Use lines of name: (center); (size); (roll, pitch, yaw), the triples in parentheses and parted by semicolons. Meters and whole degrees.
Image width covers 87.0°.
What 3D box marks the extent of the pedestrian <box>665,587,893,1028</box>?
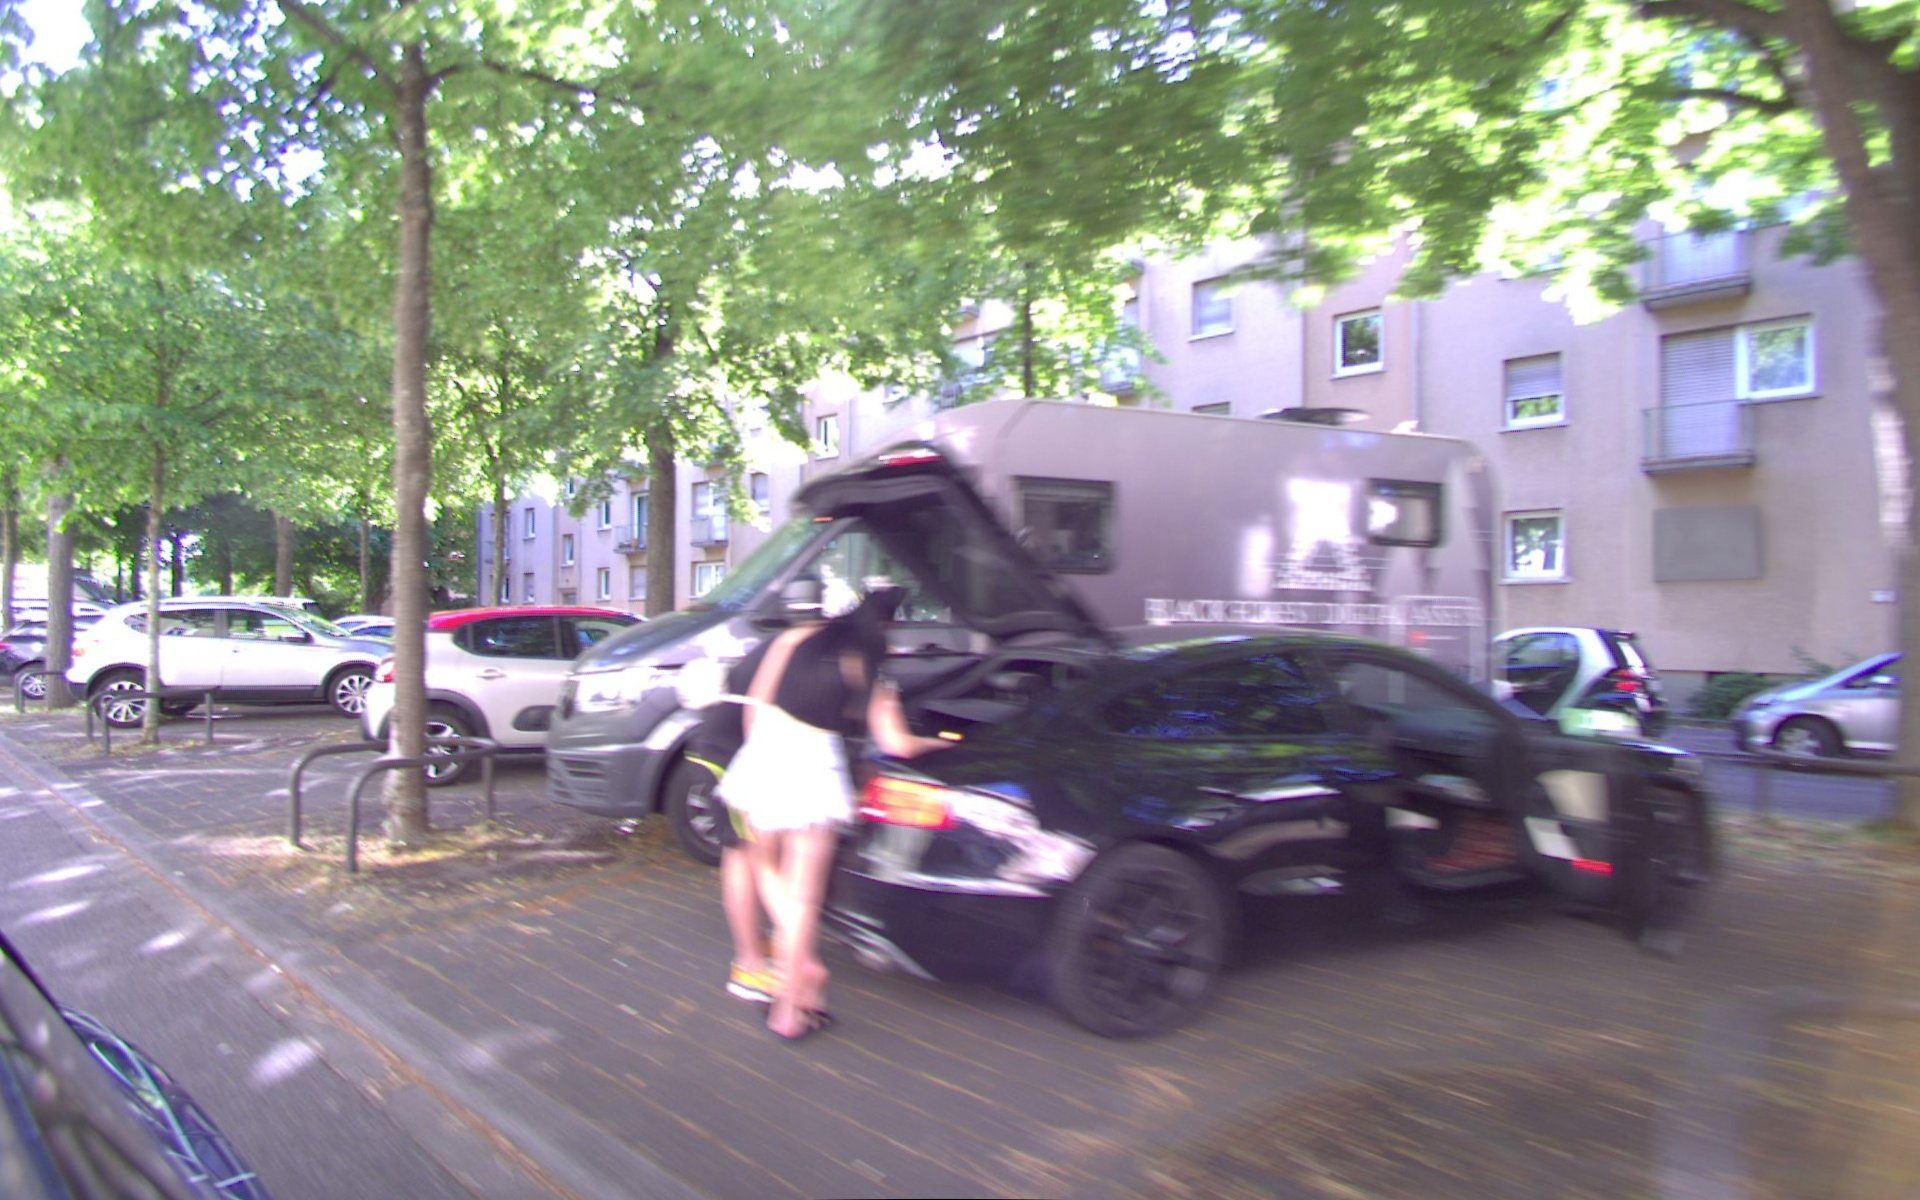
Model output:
pedestrian: (-0.693, 0.701, 3.809); (0.699, 1.467, 0.598); (1, -2, -26)

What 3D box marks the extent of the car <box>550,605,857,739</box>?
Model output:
car: (-3.175, 0.857, 12.759); (3.484, 1.519, 1.762); (1, -2, -15)

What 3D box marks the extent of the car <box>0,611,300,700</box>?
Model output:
car: (-14.632, 0.947, 18.172); (4.348, 1.473, 1.721); (0, 0, -16)

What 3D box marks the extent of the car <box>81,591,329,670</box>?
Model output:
car: (-18.644, 0.767, 25.268); (4.526, 1.846, 2.025); (1, -1, -20)

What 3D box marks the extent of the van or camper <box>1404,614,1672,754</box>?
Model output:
van or camper: (7.288, 0.986, 12.832); (2.696, 1.567, 1.580); (-1, -2, 41)

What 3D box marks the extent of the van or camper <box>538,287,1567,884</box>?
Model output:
van or camper: (0.814, -0.003, 7.394); (7.123, 2.952, 2.321); (1, -2, -22)

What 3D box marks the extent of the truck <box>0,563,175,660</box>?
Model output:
truck: (-32.795, 0.428, 36.015); (7.200, 3.319, 2.554); (1, -2, -17)

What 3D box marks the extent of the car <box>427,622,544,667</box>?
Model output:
car: (-15.832, 1.455, 33.651); (4.613, 1.403, 1.710); (-1, -3, 40)

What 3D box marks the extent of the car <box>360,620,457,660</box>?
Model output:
car: (-20.407, 1.436, 37.382); (4.532, 1.417, 1.602); (-1, -2, 40)

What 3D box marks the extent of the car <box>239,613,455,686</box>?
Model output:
car: (-13.080, 1.030, 21.806); (3.573, 1.466, 1.822); (0, -1, -12)

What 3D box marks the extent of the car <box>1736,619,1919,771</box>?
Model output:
car: (10.404, 0.951, 10.385); (3.768, 1.511, 1.646); (-1, -2, 41)

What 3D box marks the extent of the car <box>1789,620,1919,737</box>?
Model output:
car: (13.206, 1.017, 13.221); (3.610, 1.493, 1.607); (-1, -2, 41)

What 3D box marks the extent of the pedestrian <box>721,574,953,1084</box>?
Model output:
pedestrian: (-0.409, 0.668, 3.294); (0.606, 1.467, 0.521); (1, -2, -26)

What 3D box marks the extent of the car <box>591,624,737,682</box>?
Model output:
car: (-7.922, 1.358, 26.948); (3.998, 1.397, 1.872); (-1, -2, 41)

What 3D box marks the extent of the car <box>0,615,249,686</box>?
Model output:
car: (-18.582, 1.077, 22.299); (4.413, 1.466, 1.793); (0, -1, -17)

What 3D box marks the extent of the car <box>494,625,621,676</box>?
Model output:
car: (-11.971, 1.446, 30.010); (3.998, 1.398, 1.872); (-1, -3, 41)

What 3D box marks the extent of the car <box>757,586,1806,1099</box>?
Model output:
car: (1.408, 0.709, 4.422); (4.254, 1.435, 1.681); (0, -1, -22)

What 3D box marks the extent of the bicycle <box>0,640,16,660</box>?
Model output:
bicycle: (-28.181, 1.428, 29.025); (1.586, 0.563, 0.411); (0, -2, -18)

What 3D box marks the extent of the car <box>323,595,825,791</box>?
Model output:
car: (-3.388, 0.773, 9.361); (3.931, 1.519, 1.763); (1, -2, -20)

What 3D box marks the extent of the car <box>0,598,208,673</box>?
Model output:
car: (-23.094, 0.909, 27.058); (4.445, 1.879, 2.088); (0, -1, -24)

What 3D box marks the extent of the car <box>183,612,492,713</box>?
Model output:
car: (-10.018, 0.955, 16.632); (3.974, 1.413, 1.829); (-1, 0, -16)

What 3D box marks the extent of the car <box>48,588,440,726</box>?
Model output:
car: (-9.580, 0.726, 13.964); (4.075, 1.692, 1.765); (0, -1, -20)
